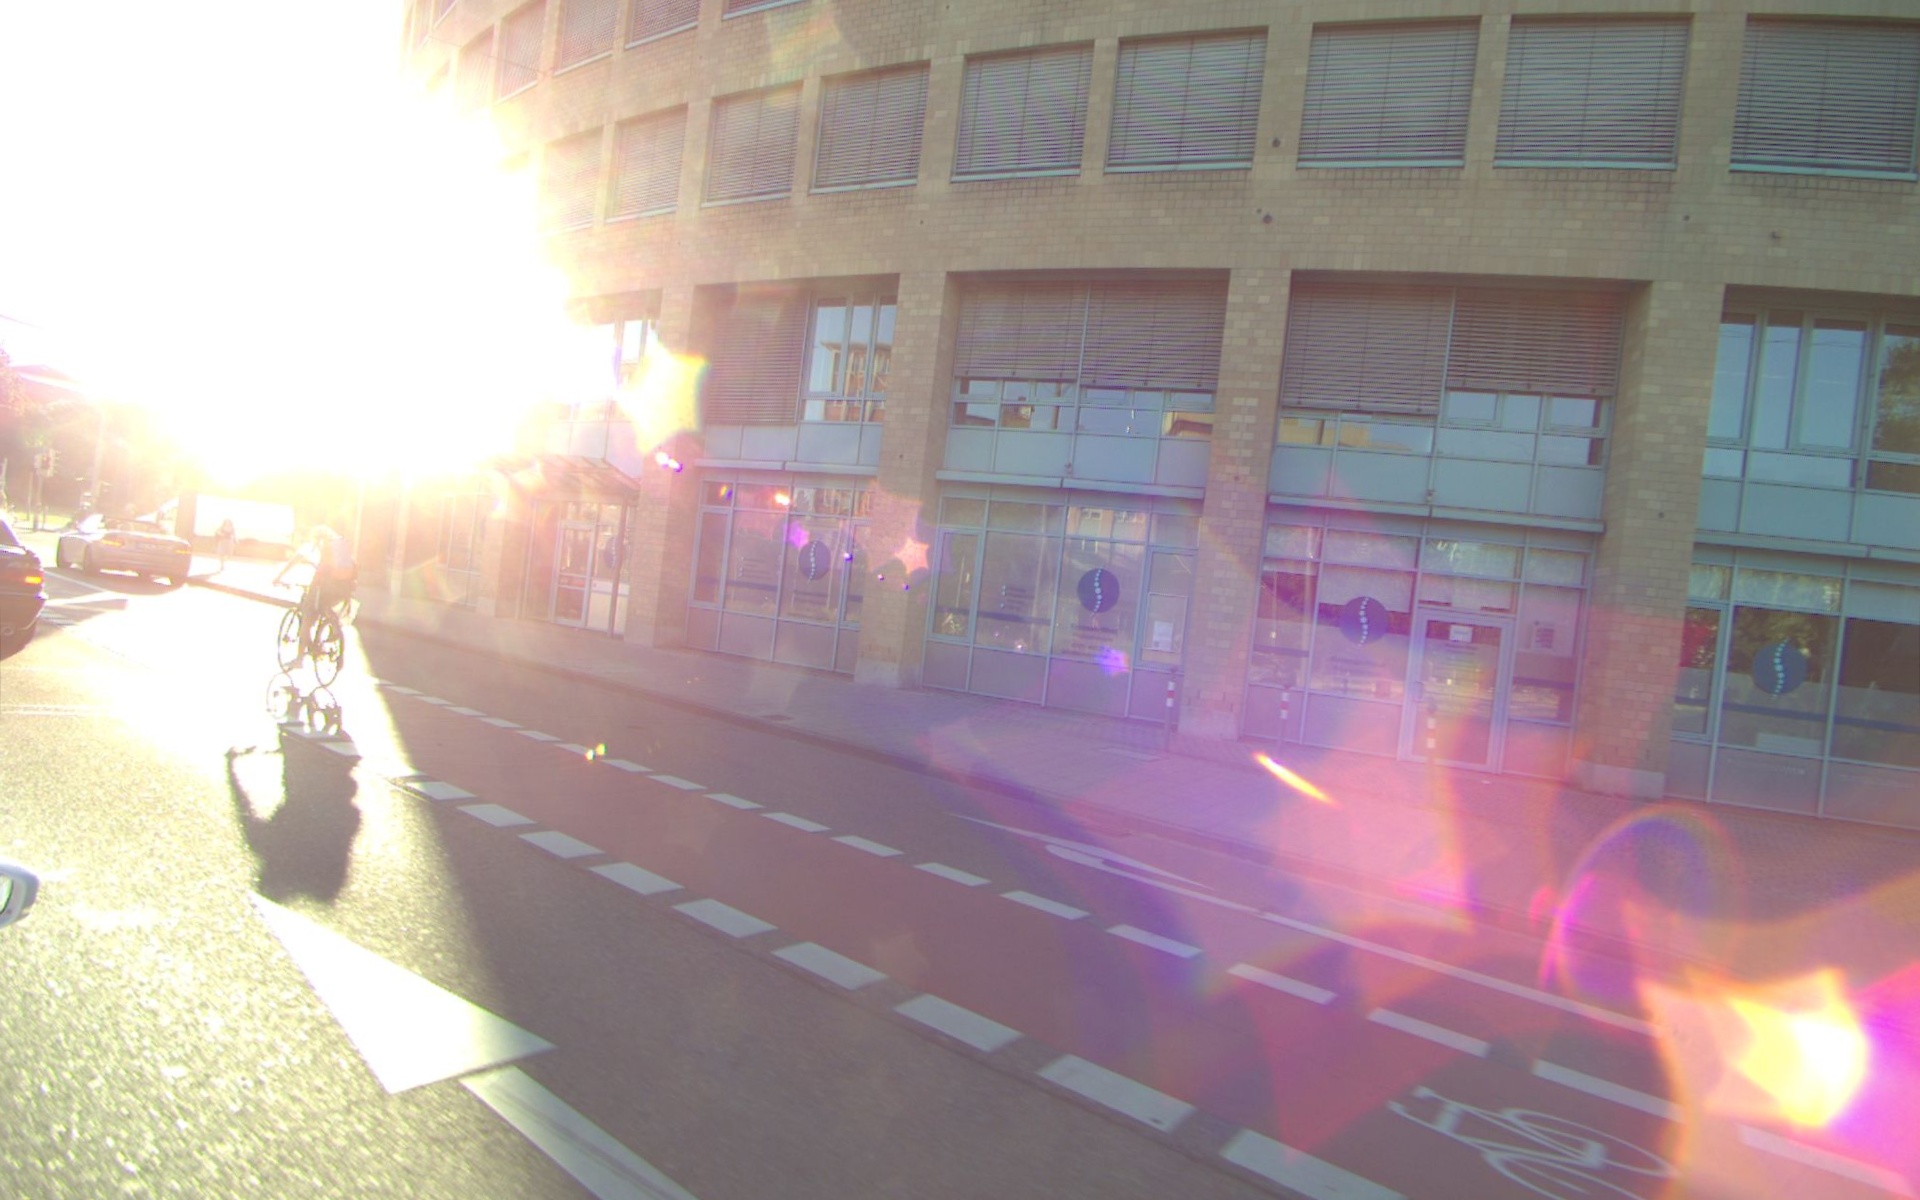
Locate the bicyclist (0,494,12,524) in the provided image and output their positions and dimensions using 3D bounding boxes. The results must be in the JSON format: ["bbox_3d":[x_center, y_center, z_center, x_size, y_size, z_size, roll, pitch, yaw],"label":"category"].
[{"bbox_3d":[-48.672,-4.630,50.939,0.850,1.460,0.655,6,2,-42],"label":"bicyclist"}]

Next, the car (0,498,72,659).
[{"bbox_3d":[-10.682,-0.459,10.008,4.570,1.370,1.831,8,-1,37],"label":"car"}]

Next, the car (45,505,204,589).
[{"bbox_3d":[-19.214,-1.232,23.078,4.201,1.370,1.784,8,-1,37],"label":"car"}]

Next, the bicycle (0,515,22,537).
[{"bbox_3d":[-48.776,-3.828,50.969,1.712,0.981,0.602,9,0,-42],"label":"bicycle"}]

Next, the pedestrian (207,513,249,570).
[{"bbox_3d":[-21.961,-1.754,30.195,0.787,1.589,0.677,8,2,35],"label":"pedestrian"}]

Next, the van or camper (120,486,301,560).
[{"bbox_3d":[-38.931,-3.944,52.483,2.560,2.708,7.036,8,1,39],"label":"van or camper"}]

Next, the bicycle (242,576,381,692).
[{"bbox_3d":[-6.836,0.341,10.573,1.747,0.966,0.515,7,-1,36],"label":"bicycle"}]

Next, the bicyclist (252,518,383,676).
[{"bbox_3d":[-6.716,-0.038,10.514,1.022,1.500,0.656,7,-2,35],"label":"bicyclist"}]
